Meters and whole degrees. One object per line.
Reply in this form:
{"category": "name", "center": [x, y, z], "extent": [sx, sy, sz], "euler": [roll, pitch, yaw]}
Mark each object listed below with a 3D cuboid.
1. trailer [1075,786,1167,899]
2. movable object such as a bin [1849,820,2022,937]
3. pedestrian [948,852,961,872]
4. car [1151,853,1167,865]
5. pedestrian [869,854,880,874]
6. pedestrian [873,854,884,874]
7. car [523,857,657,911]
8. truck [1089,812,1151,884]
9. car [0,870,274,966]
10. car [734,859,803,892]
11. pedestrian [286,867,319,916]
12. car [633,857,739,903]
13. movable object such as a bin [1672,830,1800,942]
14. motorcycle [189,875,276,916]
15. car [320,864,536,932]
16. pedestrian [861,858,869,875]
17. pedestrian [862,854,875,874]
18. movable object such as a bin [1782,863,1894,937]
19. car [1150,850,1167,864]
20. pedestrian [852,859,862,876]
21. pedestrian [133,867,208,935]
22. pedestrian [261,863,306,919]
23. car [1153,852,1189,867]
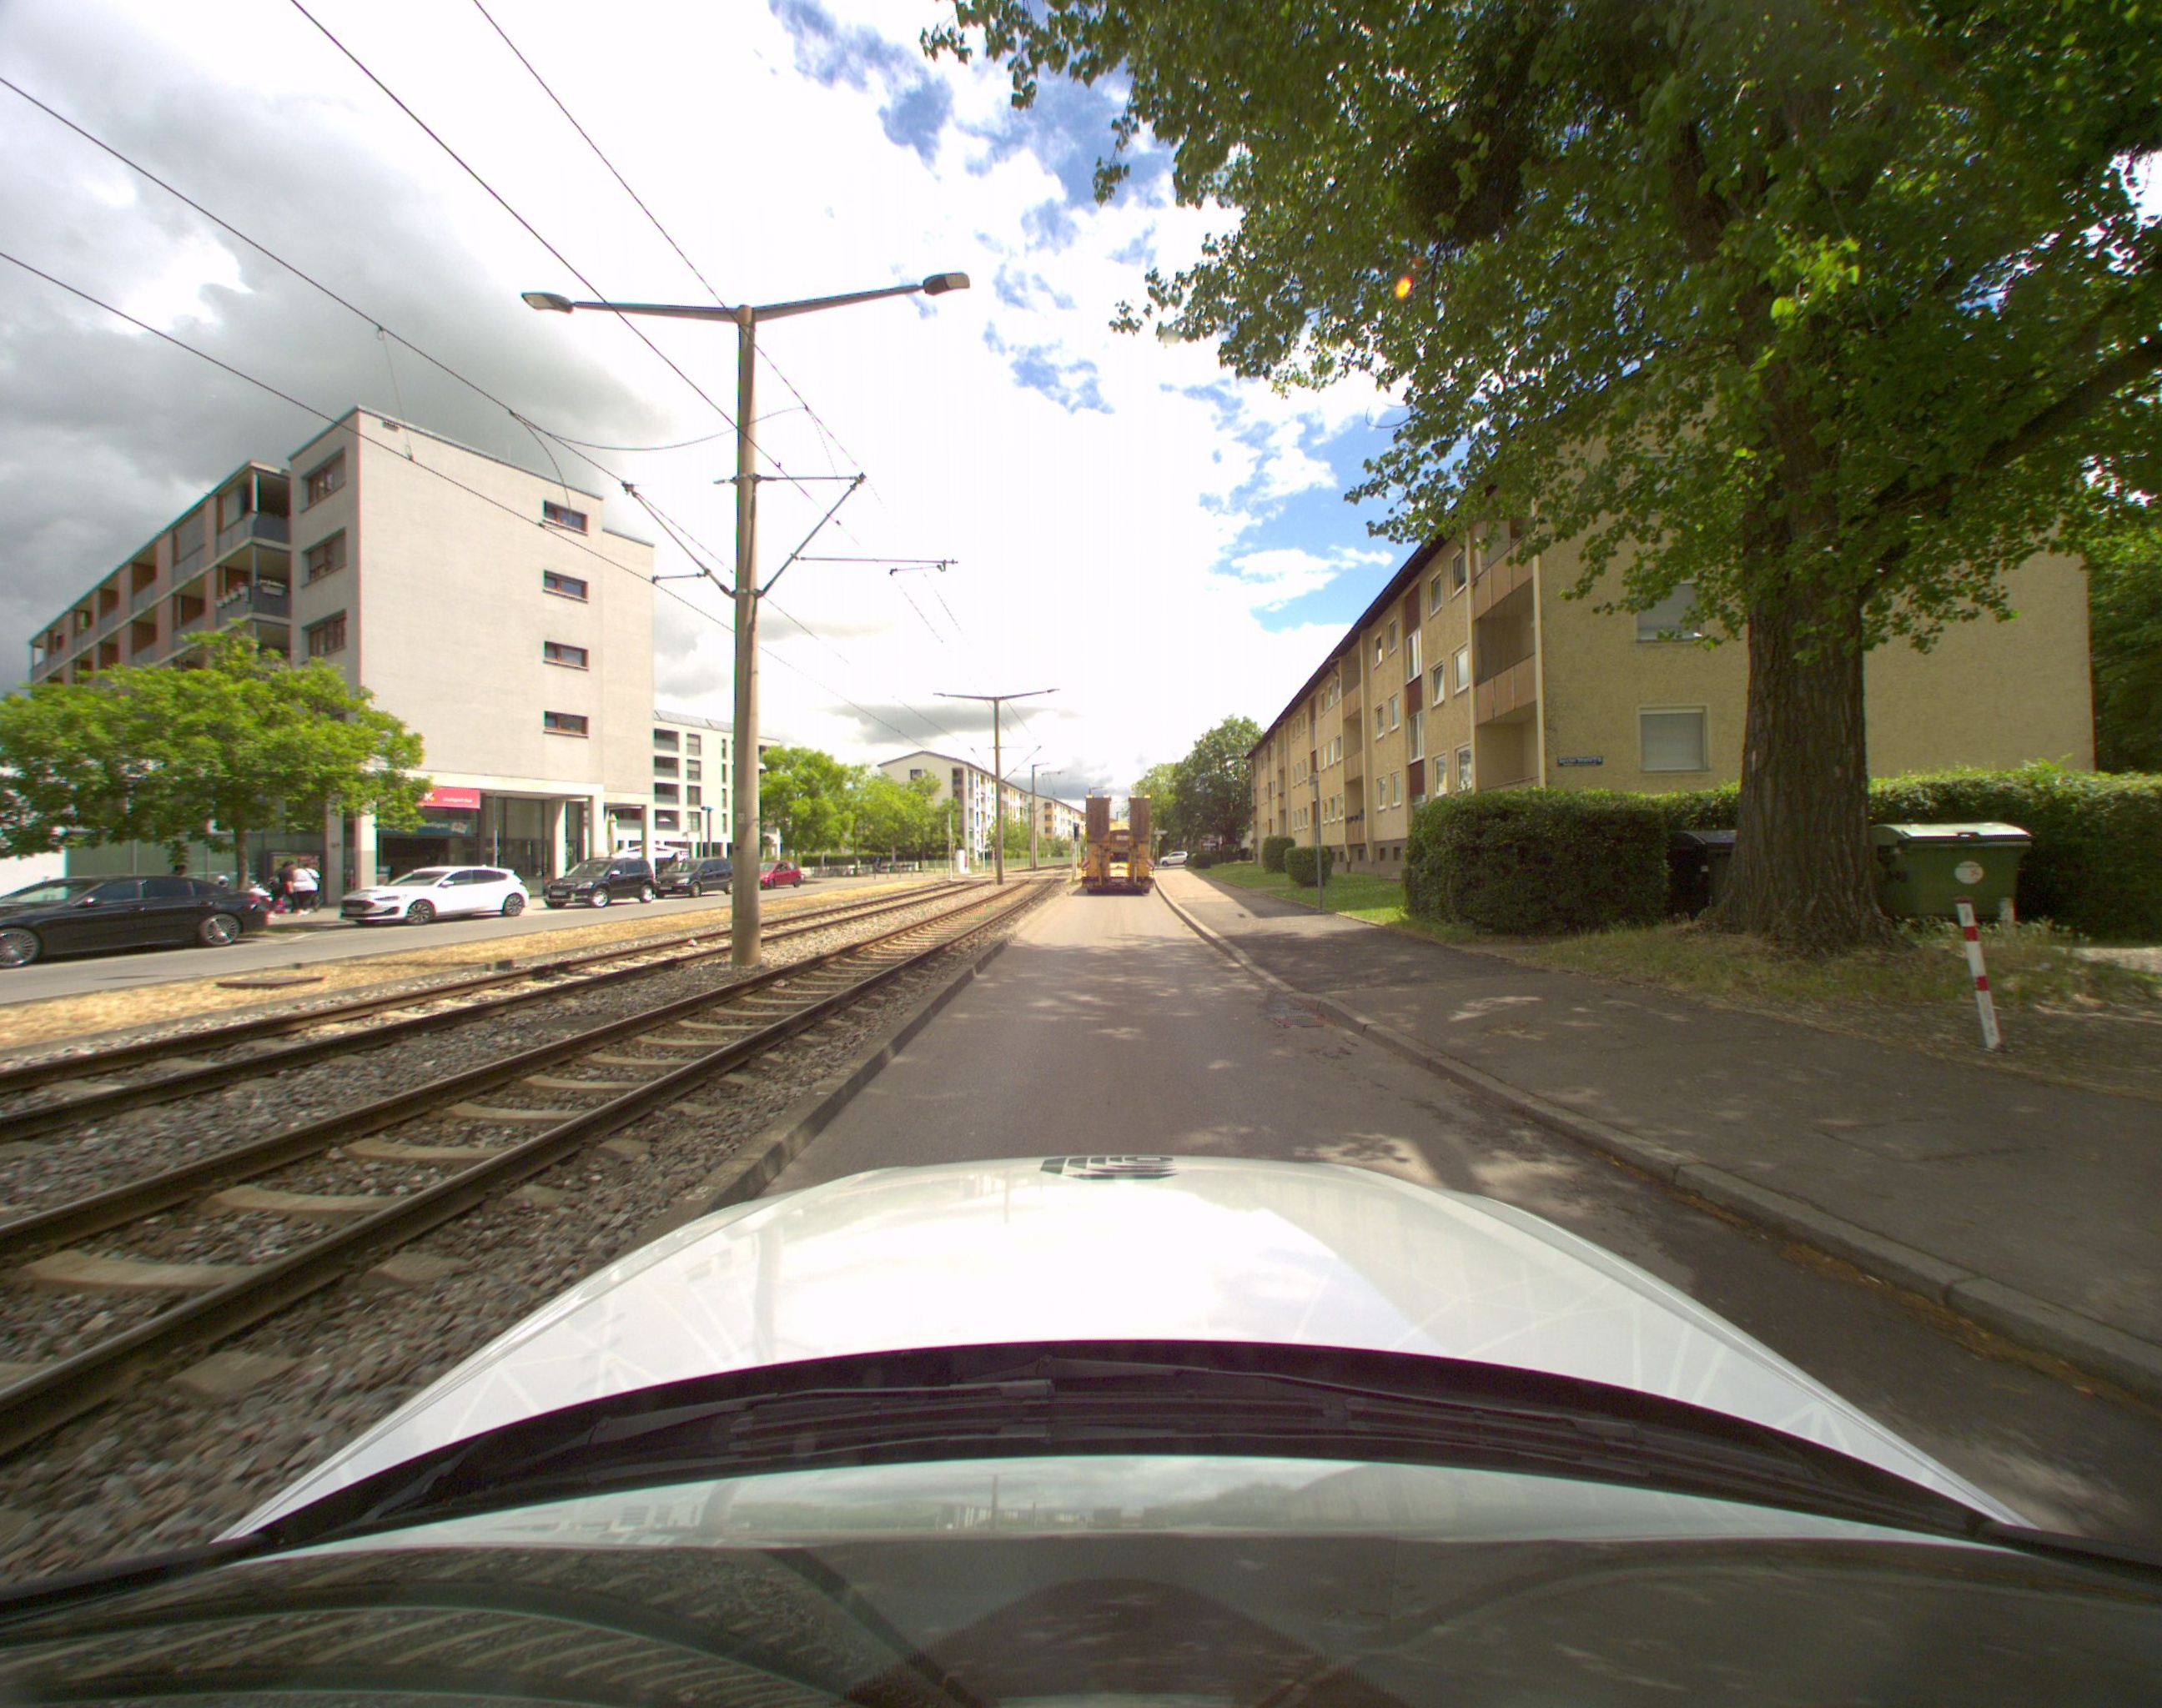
{"category": "trailer", "center": [1.576, -0.469, 33.888], "extent": [3.039, 3.772, 11.618], "euler": [-2, 1, 2]}
{"category": "movable object such as a bin", "center": [11.314, 0.302, 10.832], "extent": [1.164, 1.439, 1.058], "euler": [-2, 0, 1]}
{"category": "pedestrian", "center": [-10.884, 0.705, 70.127], "extent": [0.745, 1.661, 0.871], "euler": [-2, 0, 8]}
{"category": "car", "center": [10.437, 0.685, 109.228], "extent": [1.985, 1.387, 4.004], "euler": [-2, 1, 4]}
{"category": "pedestrian", "center": [-16.505, 0.802, 65.060], "extent": [0.618, 1.573, 0.560], "euler": [-2, 0, 15]}
{"category": "pedestrian", "center": [-16.370, 0.787, 65.698], "extent": [0.619, 1.573, 0.559], "euler": [-2, 0, 9]}
{"category": "car", "center": [-16.744, 0.961, 28.039], "extent": [1.986, 1.662, 4.102], "euler": [0, 1, 2]}
{"category": "truck", "center": [2.011, -0.345, 43.046], "extent": [2.823, 3.330, 7.988], "euler": [-2, 1, 2]}
{"category": "car", "center": [-17.791, 1.075, 14.715], "extent": [1.725, 1.428, 4.389], "euler": [-1, 0, 7]}
{"category": "car", "center": [-15.601, 1.046, 40.834], "extent": [1.603, 1.426, 3.433], "euler": [-2, 1, 10]}
{"category": "pedestrian", "center": [-23.812, 1.134, 24.916], "extent": [0.499, 1.460, 0.556], "euler": [-2, 0, -24]}
{"category": "car", "center": [-16.313, 1.019, 33.854], "extent": [1.983, 1.648, 4.108], "euler": [-2, 1, 7]}
{"category": "movable object such as a bin", "center": [8.908, 0.420, 11.117], "extent": [1.094, 1.439, 0.762], "euler": [-2, 0, 1]}
{"category": "motorcycle", "center": [-26.343, 1.280, 25.297], "extent": [1.885, 1.178, 0.742], "euler": [-2, 0, 1]}
{"category": "car", "center": [-17.286, 1.103, 21.898], "extent": [1.743, 1.475, 4.412], "euler": [-2, 1, 9]}
{"category": "pedestrian", "center": [-16.673, 0.960, 62.948], "extent": [0.501, 1.267, 0.497], "euler": [-2, 0, -19]}
{"category": "pedestrian", "center": [-16.754, 0.790, 64.236], "extent": [0.618, 1.573, 0.701], "euler": [-2, 0, 15]}
{"category": "movable object such as a bin", "center": [10.250, 0.605, 11.059], "extent": [0.799, 0.915, 0.762], "euler": [-2, 0, 1]}
{"category": "car", "center": [9.922, 0.339, 104.402], "extent": [1.985, 1.618, 4.004], "euler": [-2, 1, 4]}
{"category": "pedestrian", "center": [-19.961, 1.205, 72.619], "extent": [0.539, 1.547, 0.532], "euler": [-2, 0, 25]}
{"category": "pedestrian", "center": [-21.843, 1.114, 19.551], "extent": [0.596, 1.534, 0.977], "euler": [-2, 0, 16]}
{"category": "pedestrian", "center": [-23.096, 1.065, 23.595], "extent": [0.666, 1.573, 0.683], "euler": [-2, 0, -24]}
{"category": "car", "center": [9.985, 0.614, 90.271], "extent": [3.571, 1.584, 2.008], "euler": [-2, -1, 16]}
